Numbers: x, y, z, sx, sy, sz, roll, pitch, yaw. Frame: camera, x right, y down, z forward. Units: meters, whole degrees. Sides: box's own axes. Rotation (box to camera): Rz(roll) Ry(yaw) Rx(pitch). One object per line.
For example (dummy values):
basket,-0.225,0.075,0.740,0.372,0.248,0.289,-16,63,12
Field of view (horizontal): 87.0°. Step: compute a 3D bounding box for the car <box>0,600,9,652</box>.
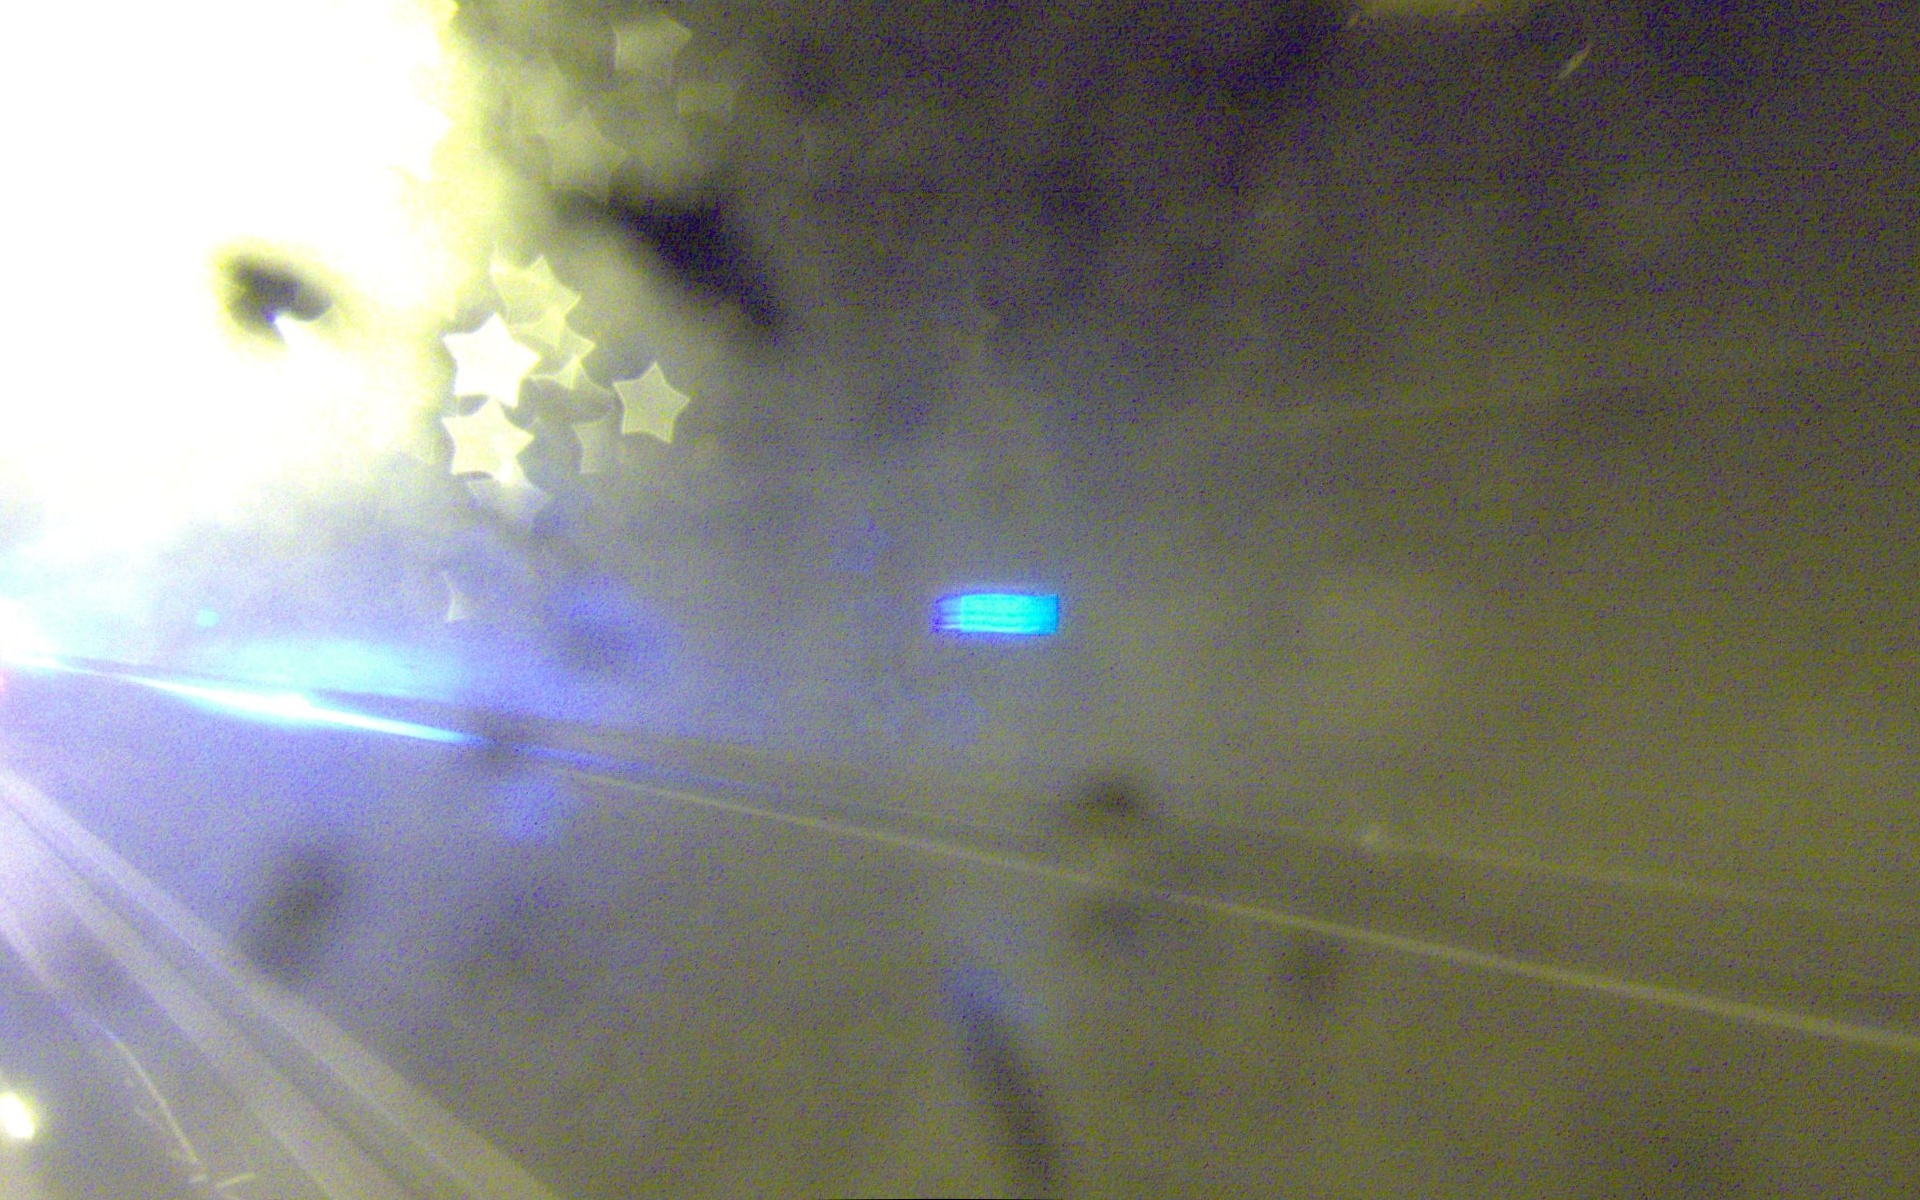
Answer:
car,-32.418,0.859,32.953,4.001,1.617,1.864,0,1,44
